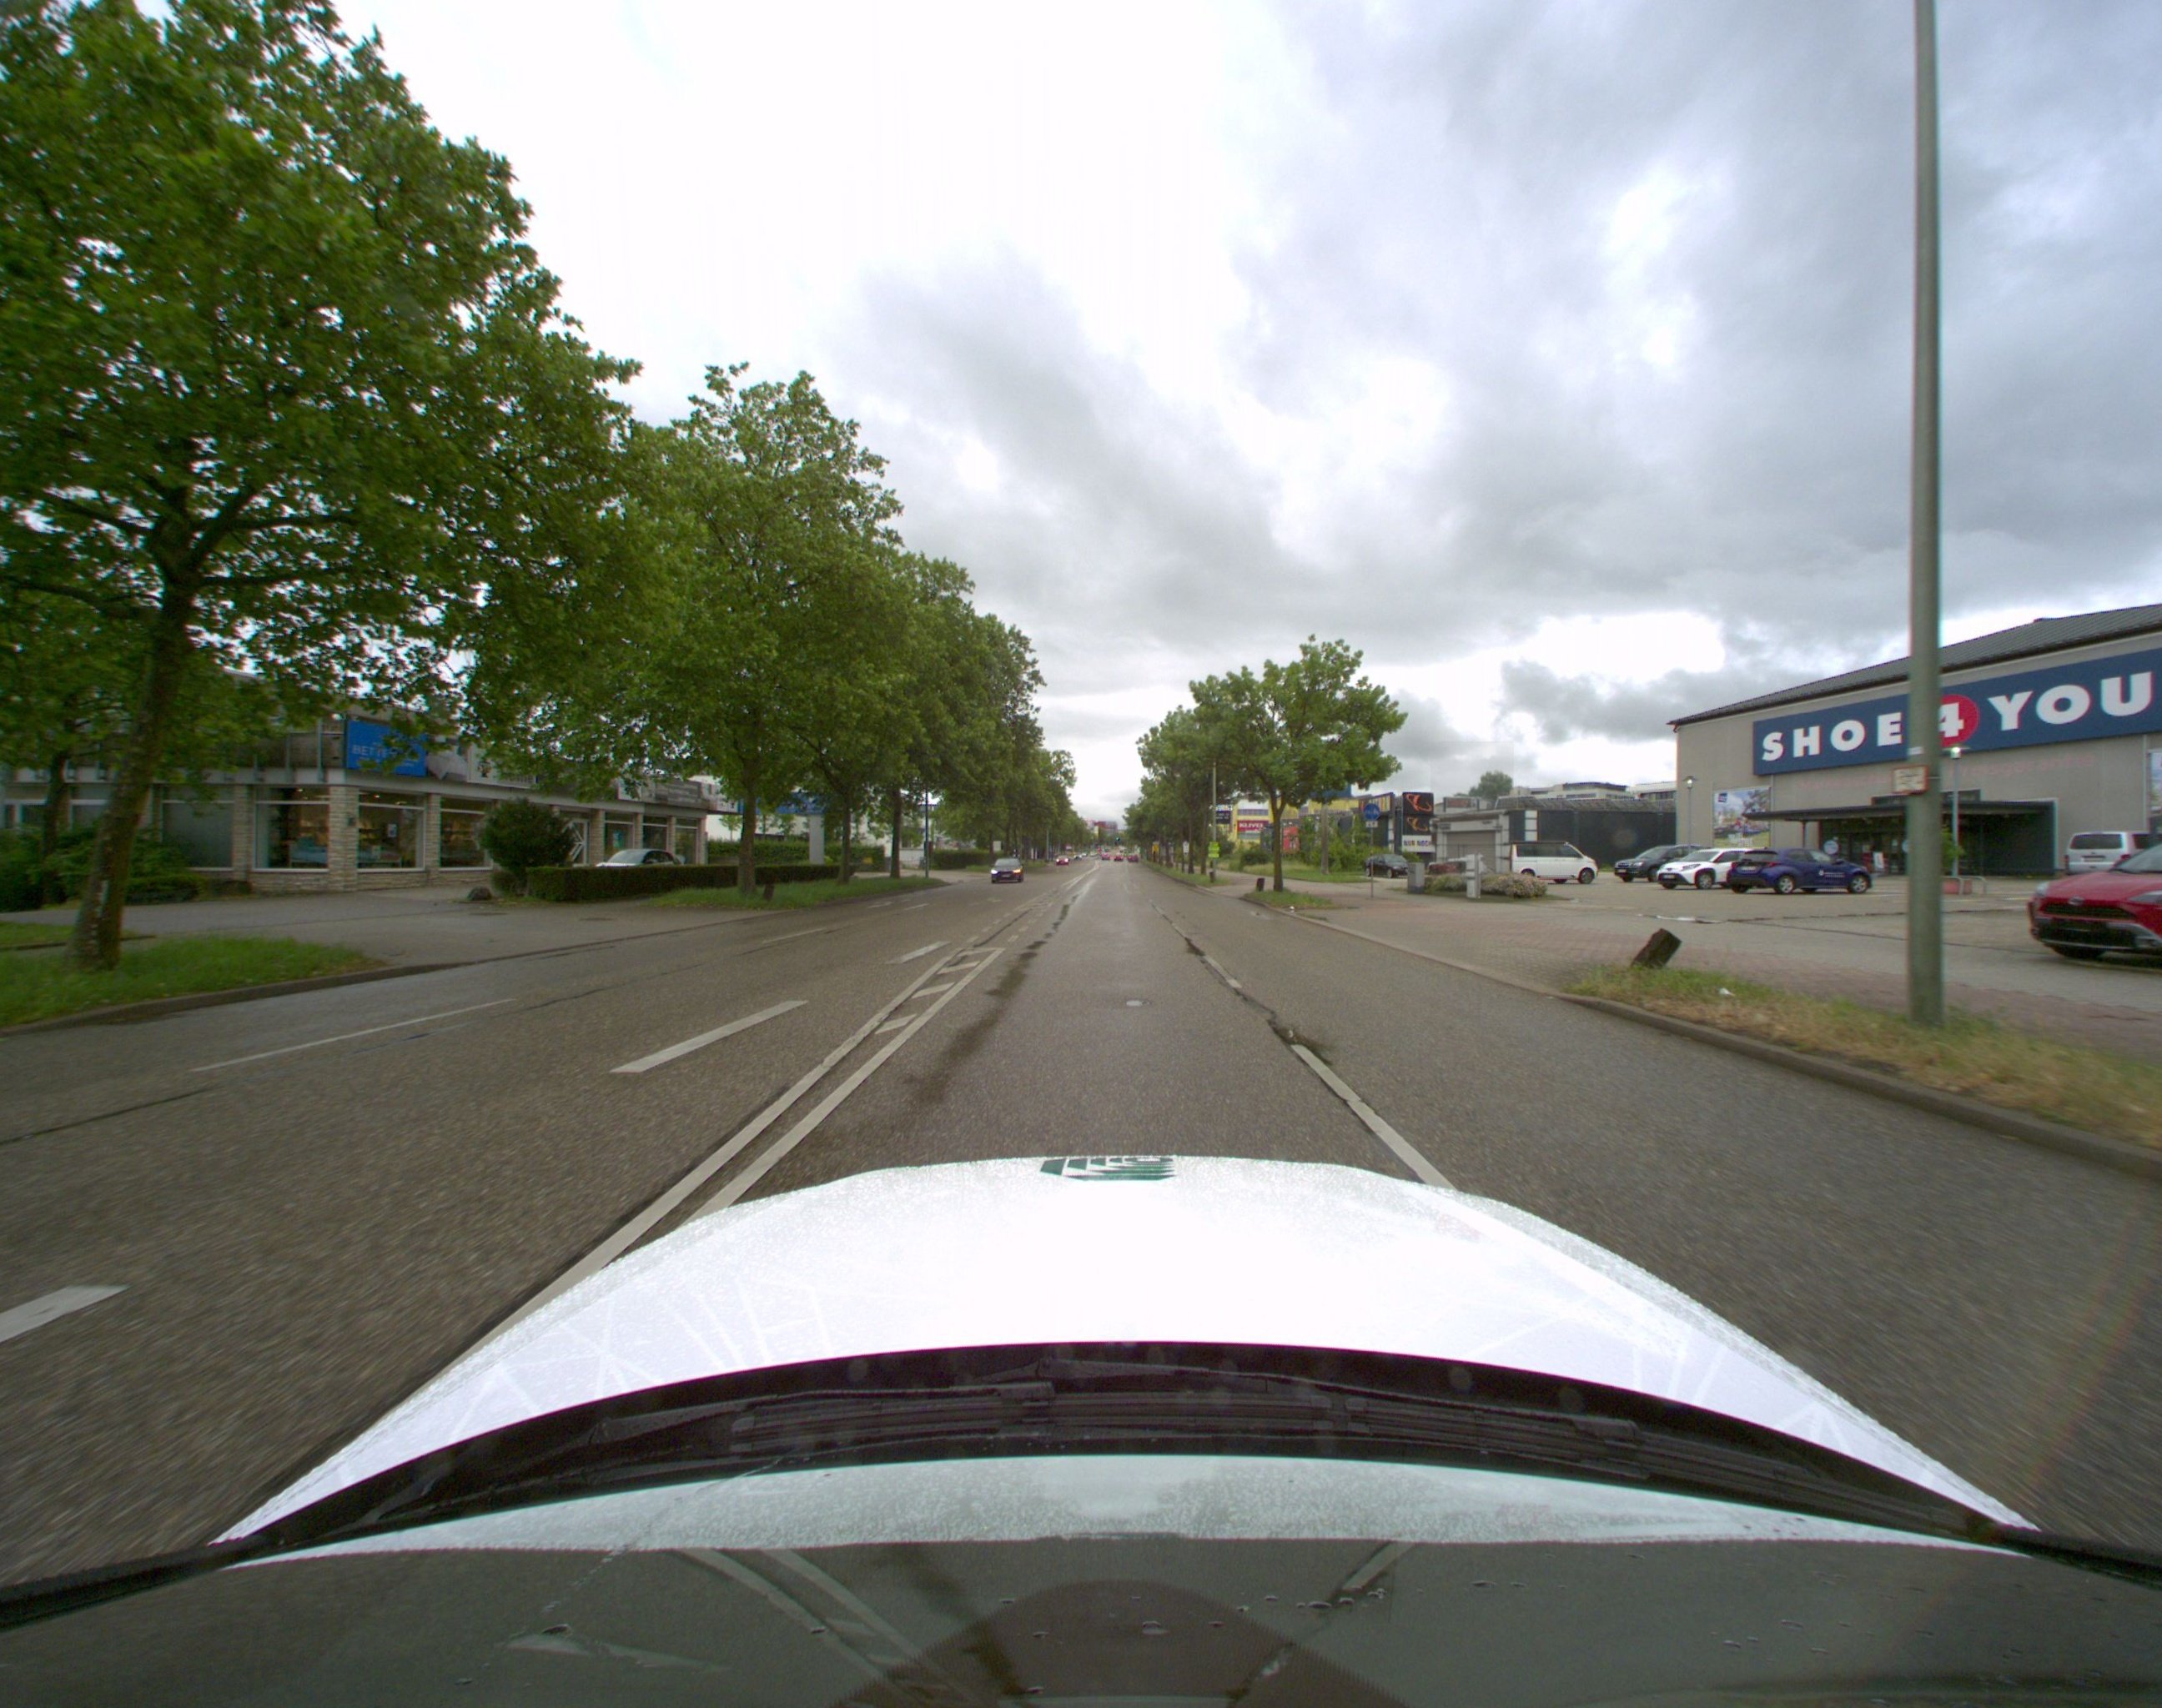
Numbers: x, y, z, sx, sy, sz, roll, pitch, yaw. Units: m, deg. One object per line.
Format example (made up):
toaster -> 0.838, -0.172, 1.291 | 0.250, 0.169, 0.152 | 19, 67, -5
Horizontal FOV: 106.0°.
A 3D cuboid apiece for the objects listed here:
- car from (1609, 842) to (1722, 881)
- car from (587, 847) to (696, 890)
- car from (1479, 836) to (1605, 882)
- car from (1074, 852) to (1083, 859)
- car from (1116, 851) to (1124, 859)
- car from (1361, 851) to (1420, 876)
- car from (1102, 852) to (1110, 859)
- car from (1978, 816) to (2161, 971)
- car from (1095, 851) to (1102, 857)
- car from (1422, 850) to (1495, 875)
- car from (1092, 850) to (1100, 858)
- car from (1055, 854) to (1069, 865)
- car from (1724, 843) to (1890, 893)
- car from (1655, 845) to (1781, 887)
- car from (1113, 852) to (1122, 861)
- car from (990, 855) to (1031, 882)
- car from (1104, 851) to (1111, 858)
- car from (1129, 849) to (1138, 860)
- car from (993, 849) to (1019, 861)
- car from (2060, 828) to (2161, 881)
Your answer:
car -> 27.400, 0.335, 38.224 | 4.239, 1.729, 1.738 | 0, 0, -7
car -> -16.366, 0.502, 30.567 | 1.816, 1.486, 3.941 | -1, 0, 2
car -> 21.200, 0.226, 37.529 | 4.816, 2.014, 1.985 | -1, -1, -7
car -> -0.631, 0.343, 202.456 | 1.696, 1.737, 4.006 | -1, 0, 5
car -> 9.381, 0.203, 194.034 | 1.737, 1.737, 4.004 | -1, 0, 4
car -> 18.732, 0.529, 49.465 | 1.576, 1.428, 4.256 | 0, 0, -7
car -> 6.168, 0.403, 203.408 | 1.737, 1.701, 4.004 | -1, 0, 4
car -> 13.334, 0.341, 9.397 | 3.825, 1.603, 1.797 | -3, 0, 3
car -> 5.294, -0.011, 245.443 | 1.820, 2.013, 4.000 | -1, 0, 1
car -> 23.690, 0.482, 51.374 | 1.878, 1.468, 4.941 | 0, 0, -7
car -> 3.905, -0.021, 216.585 | 1.986, 2.013, 4.002 | -1, 0, 2
car -> -2.702, 0.815, 118.571 | 1.719, 1.517, 3.824 | -1, 0, 3
car -> 23.338, 0.440, 26.254 | 3.980, 1.514, 1.756 | 0, 0, -5
car -> 23.922, 0.432, 30.644 | 3.634, 1.514, 1.672 | 0, 0, -7
car -> 8.111, 0.513, 180.656 | 1.737, 2.013, 4.004 | -1, 0, 4
car -> -4.092, 0.827, 47.654 | 1.796, 1.463, 3.849 | -1, 0, 3
car -> 7.026, 0.130, 218.096 | 1.883, 1.876, 4.126 | -1, 0, 2
car -> 10.421, 0.119, 162.401 | 1.737, 2.013, 4.004 | -1, 0, 4
car -> -12.295, 0.135, 133.742 | 3.971, 1.925, 1.828 | -1, -1, 2
car -> 39.168, 0.009, 29.994 | 4.238, 1.860, 1.932 | 0, 0, -6
